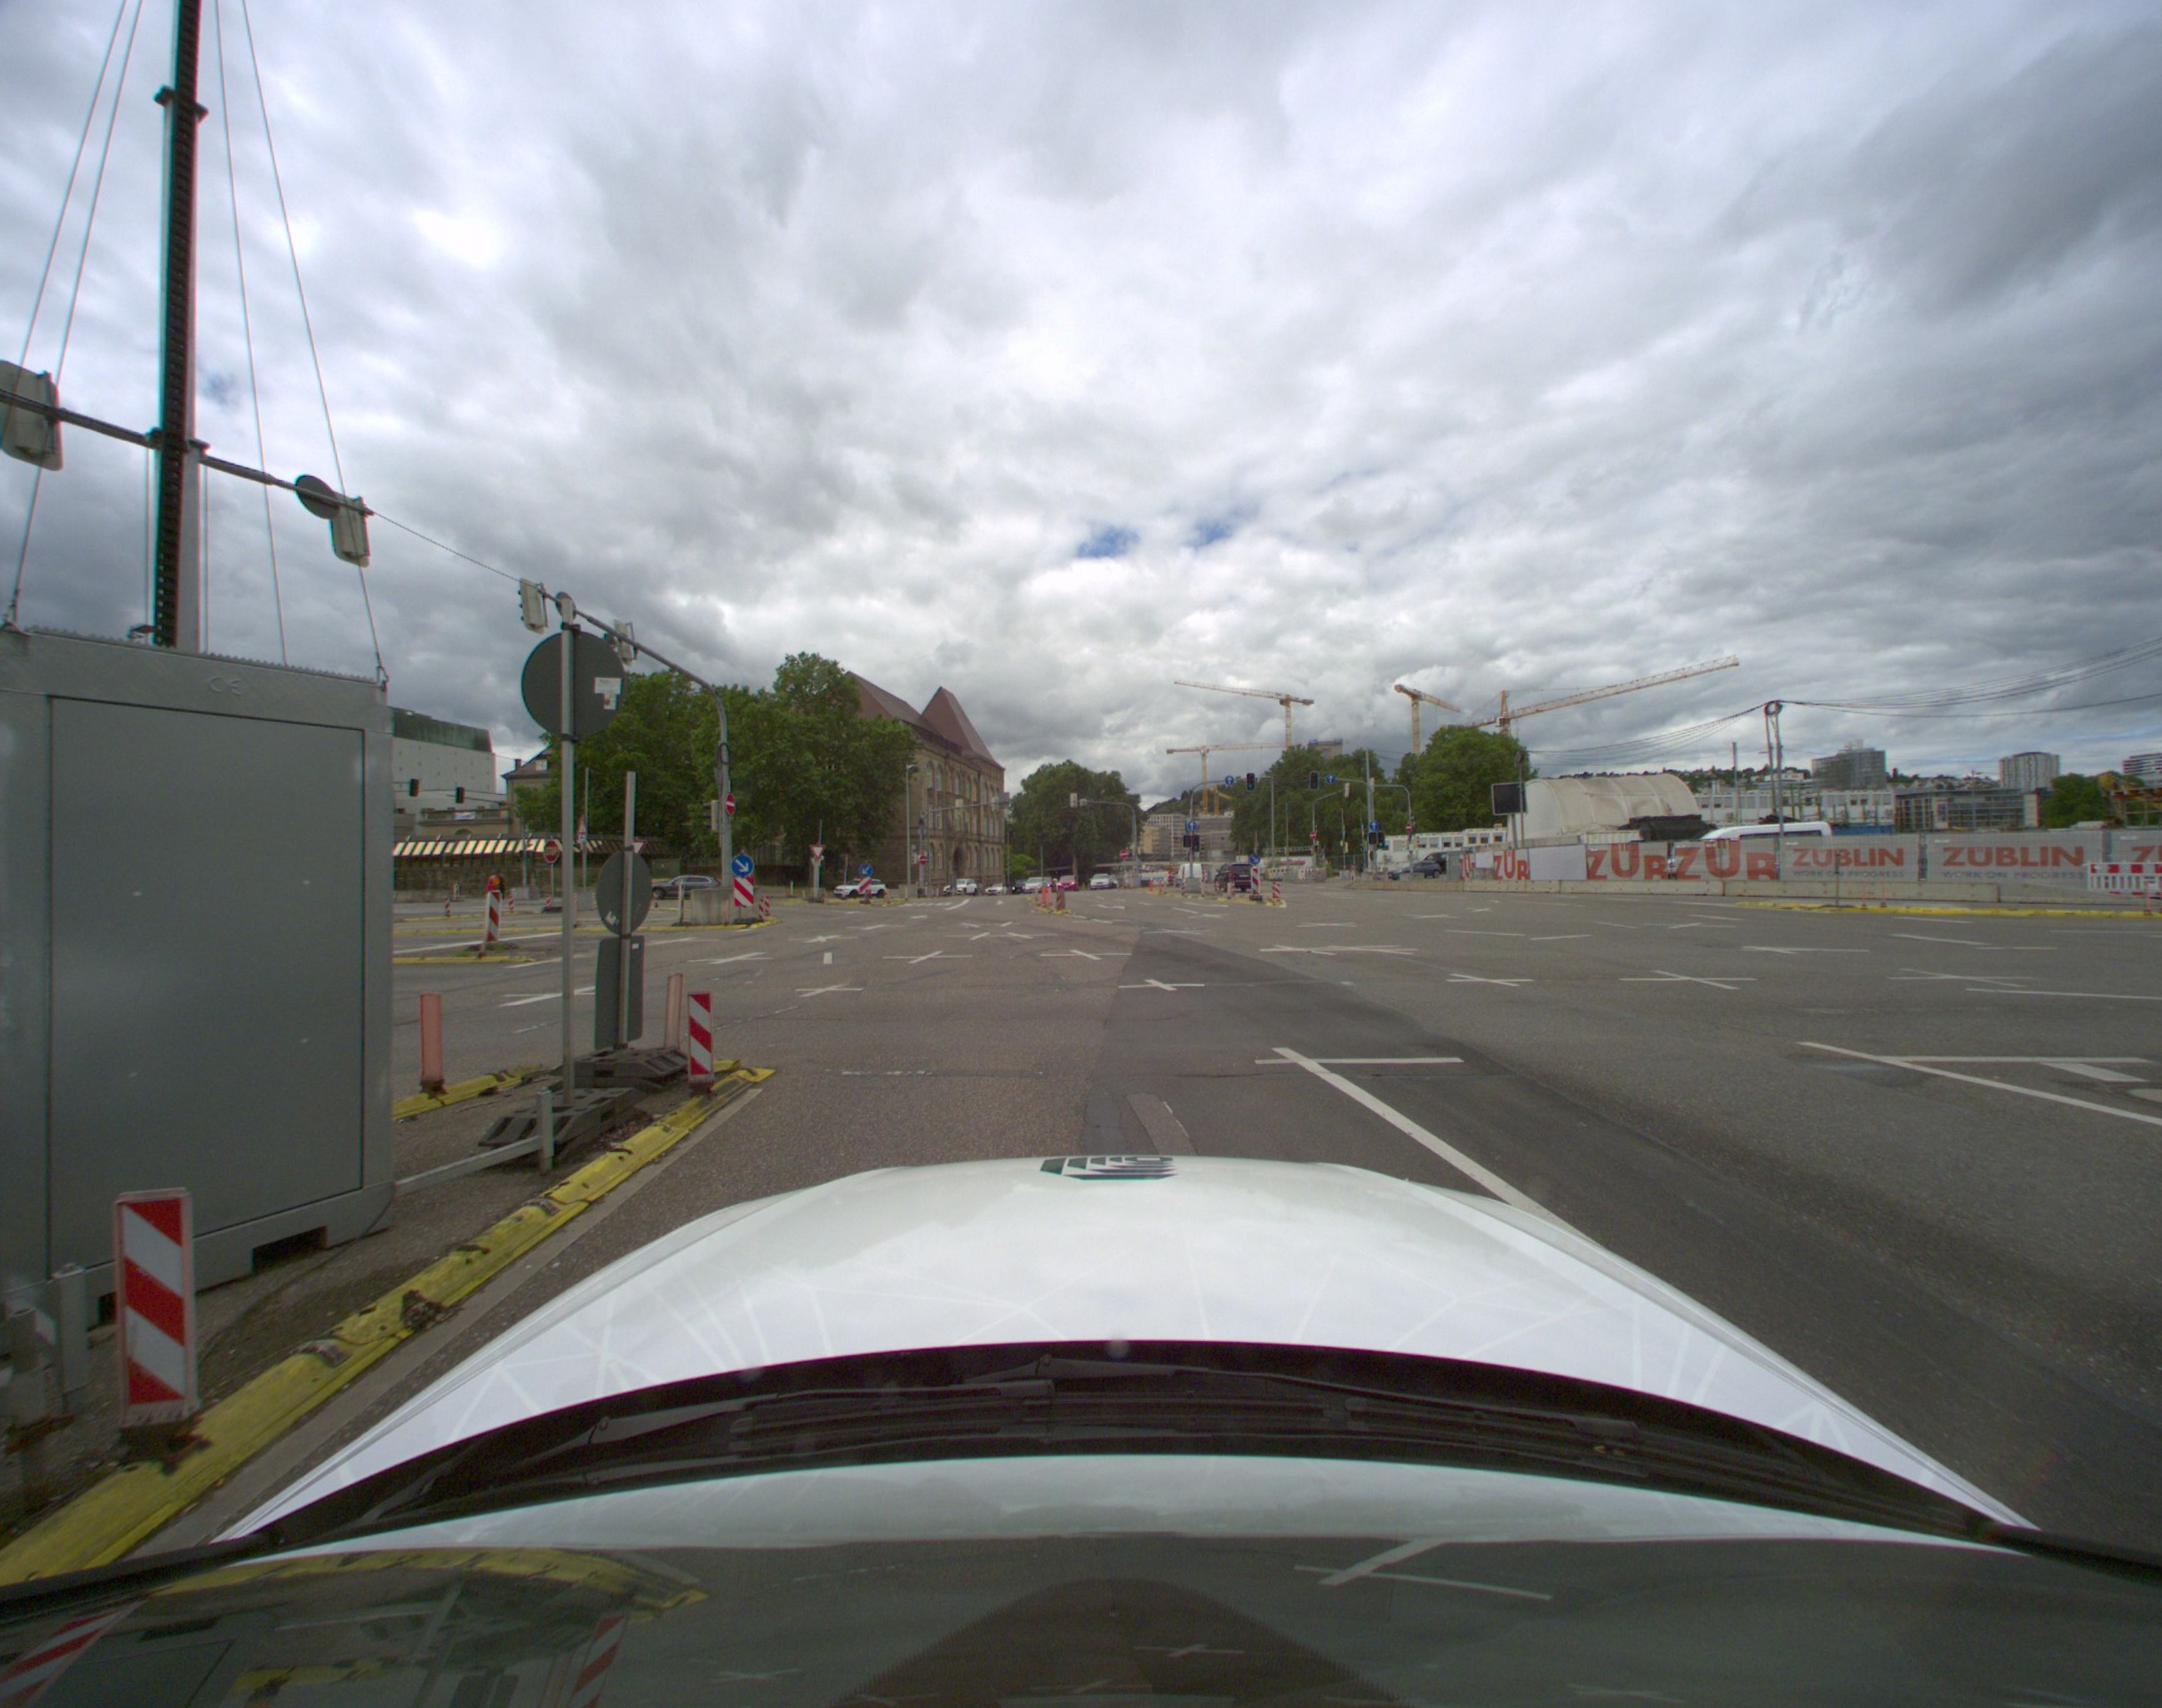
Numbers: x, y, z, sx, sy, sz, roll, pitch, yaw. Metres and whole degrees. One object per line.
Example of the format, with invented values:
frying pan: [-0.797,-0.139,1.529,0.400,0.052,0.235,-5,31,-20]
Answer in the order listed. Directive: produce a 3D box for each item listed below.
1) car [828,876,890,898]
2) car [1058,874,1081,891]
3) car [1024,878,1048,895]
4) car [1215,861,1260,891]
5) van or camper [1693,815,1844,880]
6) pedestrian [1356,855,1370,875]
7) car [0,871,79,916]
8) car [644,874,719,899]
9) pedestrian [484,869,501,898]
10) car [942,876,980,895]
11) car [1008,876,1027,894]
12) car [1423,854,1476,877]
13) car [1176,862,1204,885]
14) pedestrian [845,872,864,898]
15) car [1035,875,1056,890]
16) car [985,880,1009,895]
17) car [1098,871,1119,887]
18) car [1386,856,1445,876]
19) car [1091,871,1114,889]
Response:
car: [-17.028,2.511,62.627,1.734,1.568,4.358,-1,-2,40]
car: [-1.003,2.495,72.523,1.677,1.435,3.452,-3,-2,6]
car: [-4.069,2.980,73.969,1.653,1.435,3.449,-3,-3,4]
car: [9.328,1.339,48.791,1.933,1.667,3.640,-1,-2,-1]
van or camper: [26.587,-0.203,31.674,3.951,2.227,2.011,-3,-2,23]
pedestrian: [23.064,0.930,66.625,0.622,1.592,0.846,-1,-2,-17]
car: [-60.586,2.248,45.717,5.488,2.374,2.591,-2,0,1]
car: [-26.958,2.196,55.140,4.485,1.568,1.815,0,-1,-24]
pedestrian: [-41.887,2.108,57.956,0.853,2.014,0.617,-1,-1,-28]
car: [-10.698,2.780,72.931,1.798,1.643,4.569,-1,-1,14]
car: [-7.915,3.881,101.473,1.926,1.938,3.672,-3,-5,1]
car: [33.099,1.045,73.147,3.995,2.014,1.989,0,-1,-16]
car: [8.416,1.514,63.256,1.752,1.687,3.643,-1,-2,2]
pedestrian: [-18.247,2.498,65.567,1.199,2.014,1.191,0,-2,-34]
car: [-3.502,2.776,80.890,1.653,1.435,3.450,0,-2,4]
car: [-8.808,3.522,85.498,1.727,1.435,4.385,0,-1,4]
car: [2.706,2.436,78.981,1.680,1.435,3.452,-3,-2,6]
car: [26.419,0.944,64.396,4.060,1.435,1.778,-1,-1,-14]
car: [1.919,2.334,72.468,1.680,1.435,3.452,-3,-2,6]
